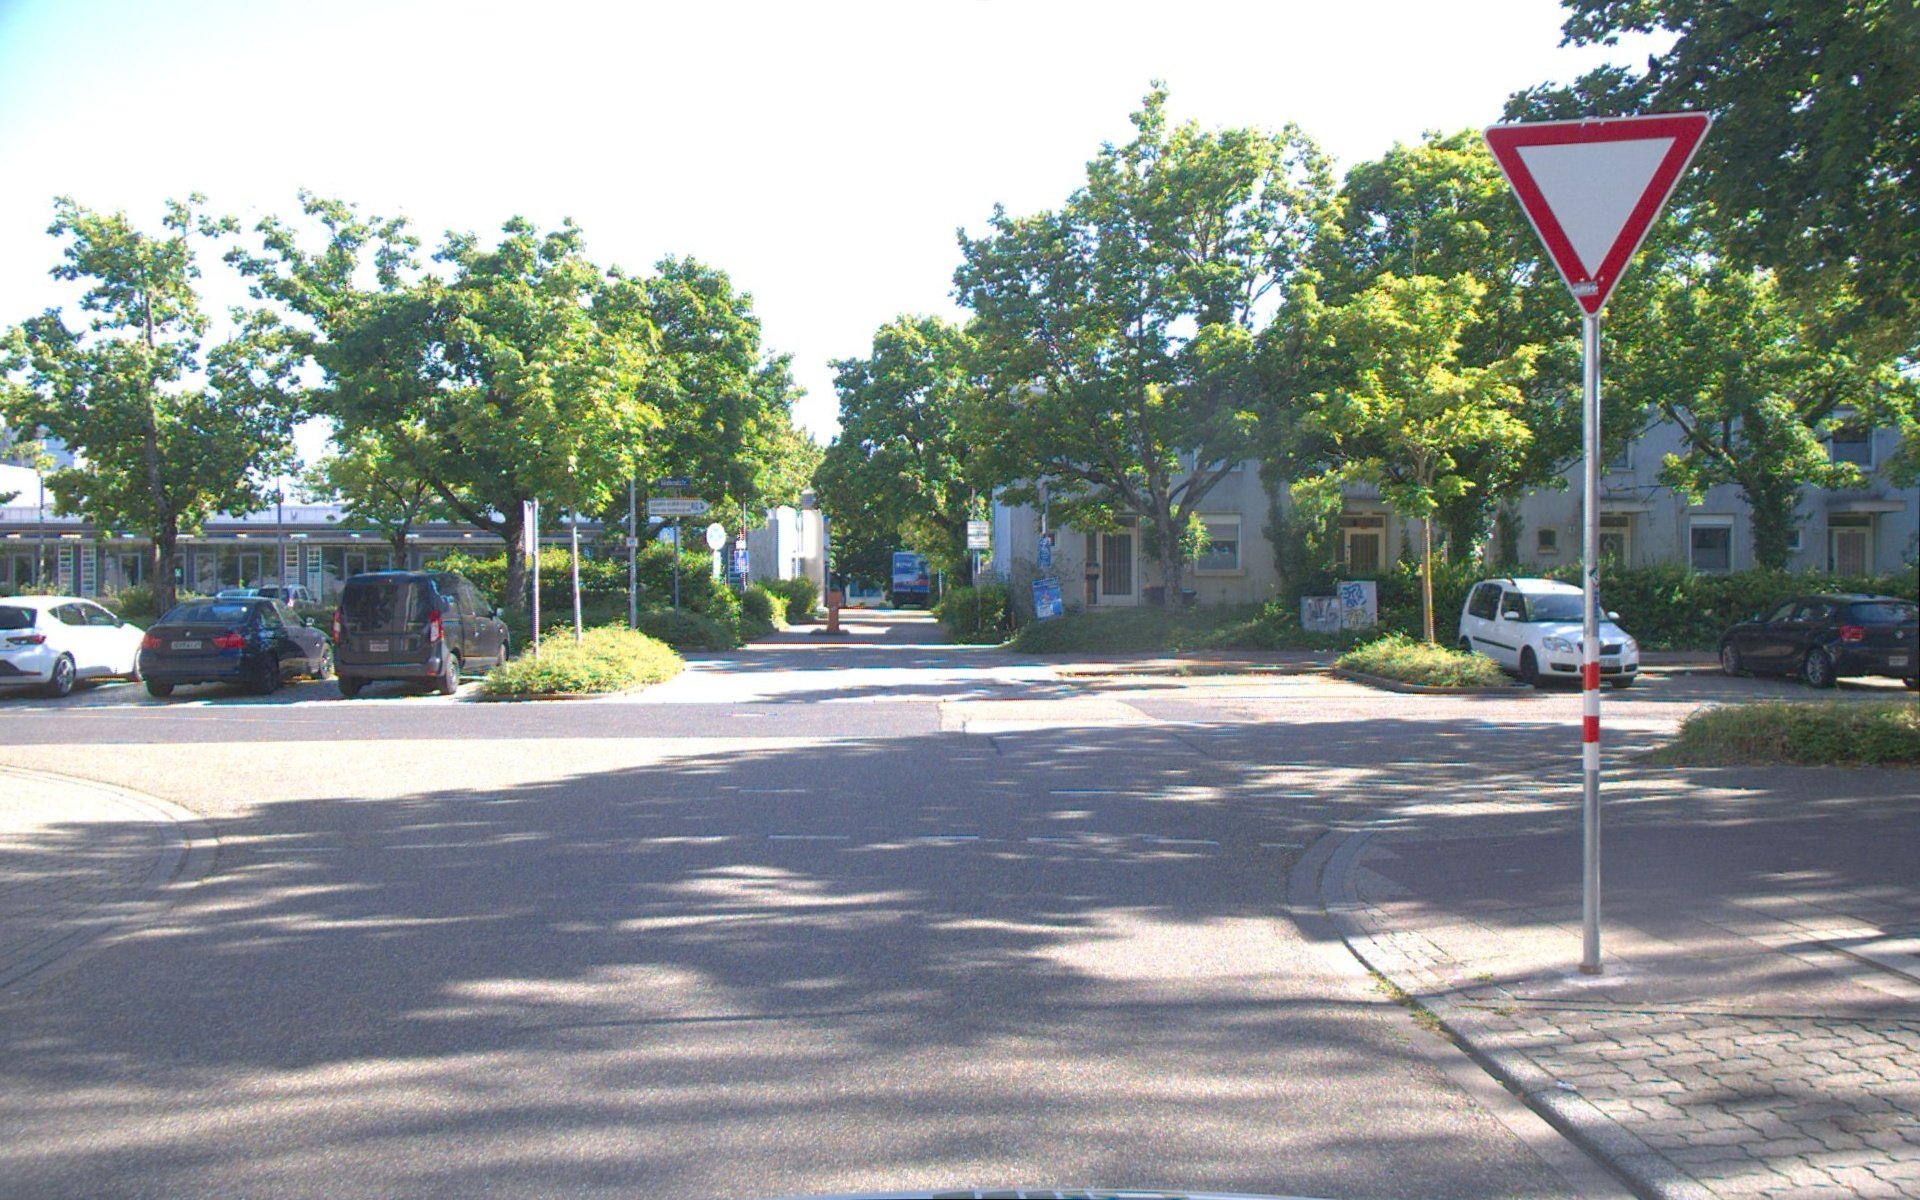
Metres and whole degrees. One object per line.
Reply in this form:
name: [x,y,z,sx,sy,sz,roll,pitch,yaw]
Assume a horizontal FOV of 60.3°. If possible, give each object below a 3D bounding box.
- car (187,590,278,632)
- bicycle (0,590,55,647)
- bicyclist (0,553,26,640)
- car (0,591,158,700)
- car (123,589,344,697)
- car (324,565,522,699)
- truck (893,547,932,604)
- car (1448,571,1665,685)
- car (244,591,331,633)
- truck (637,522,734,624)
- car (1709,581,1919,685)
car: [-28.409,0.414,64.697,1.798,1.524,3.908,0,1,0]
bicycle: [-17.565,0.320,29.902,2.040,1.013,0.596,1,0,-2]
bicyclist: [-17.550,-0.066,29.900,0.991,1.550,0.596,1,0,-2]
car: [-14.175,0.643,25.622,1.767,1.461,3.910,0,2,-3]
car: [-11.189,0.605,25.814,1.787,1.430,4.166,-1,2,-3]
car: [-8.316,0.416,26.005,1.836,1.878,4.168,-1,2,-2]
truck: [-3.427,-1.752,120.835,2.704,3.937,9.327,1,1,-1]
car: [9.450,0.377,26.550,1.787,1.625,4.166,-1,2,-3]
car: [-26.336,0.442,64.873,1.798,1.524,3.908,0,1,0]
truck: [-11.020,-1.078,67.031,2.745,3.873,6.924,1,1,0]
car: [13.935,0.469,26.503,1.787,1.430,4.166,-1,2,-3]
